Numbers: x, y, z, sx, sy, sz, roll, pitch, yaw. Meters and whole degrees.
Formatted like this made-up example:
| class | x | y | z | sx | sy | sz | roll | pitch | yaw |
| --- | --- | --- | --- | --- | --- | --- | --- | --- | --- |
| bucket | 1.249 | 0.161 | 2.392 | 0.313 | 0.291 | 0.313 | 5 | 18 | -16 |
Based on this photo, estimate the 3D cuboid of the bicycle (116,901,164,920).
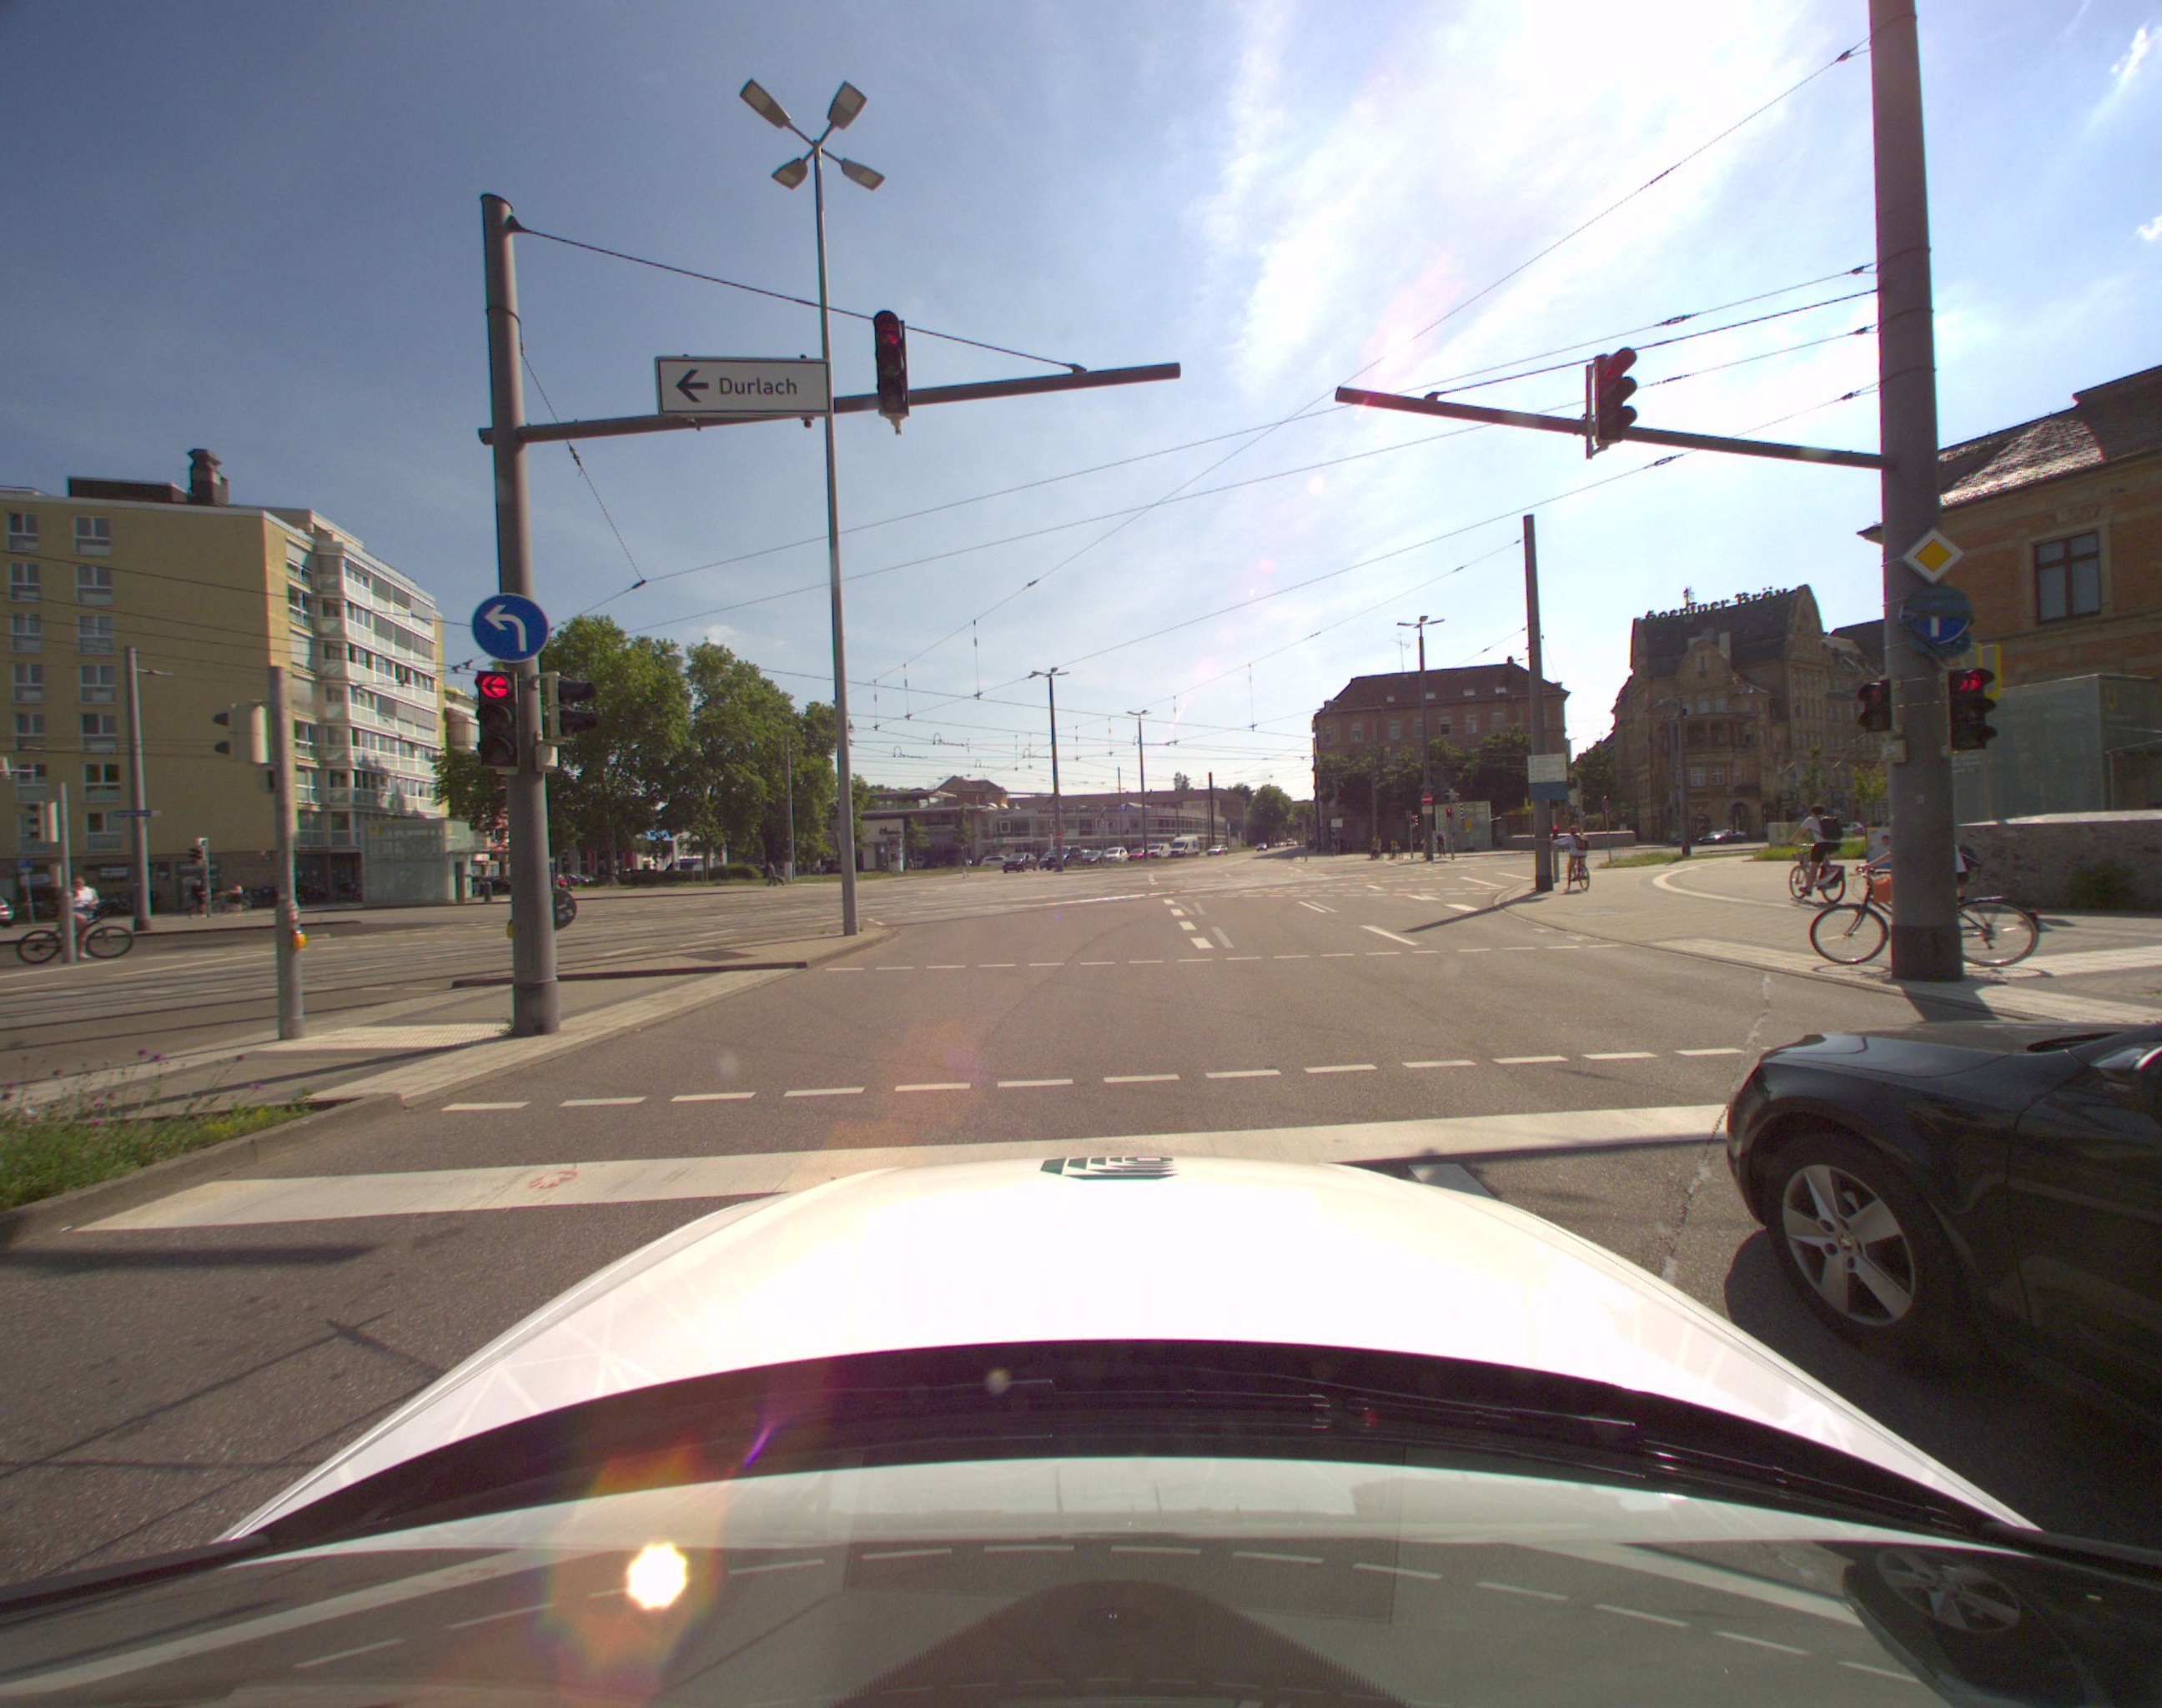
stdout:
| class | x | y | z | sx | sy | sz | roll | pitch | yaw |
| --- | --- | --- | --- | --- | --- | --- | --- | --- | --- |
| bicycle | -51.990 | 3.118 | 45.015 | 1.750 | 0.916 | 0.582 | -3 | 1 | -8 |

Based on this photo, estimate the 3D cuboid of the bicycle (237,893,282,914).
| class | x | y | z | sx | sy | sz | roll | pitch | yaw |
| --- | --- | --- | --- | --- | --- | --- | --- | --- | --- |
| bicycle | -46.814 | 2.798 | 46.396 | 1.750 | 1.043 | 0.582 | -3 | 1 | -9 |

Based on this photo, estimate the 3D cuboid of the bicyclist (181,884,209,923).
| class | x | y | z | sx | sy | sz | roll | pitch | yaw |
| --- | --- | --- | --- | --- | --- | --- | --- | --- | --- |
| bicyclist | -40.790 | 2.263 | 37.498 | 0.584 | 1.735 | 0.613 | -3 | -1 | -22 |

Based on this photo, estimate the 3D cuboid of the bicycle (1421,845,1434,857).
| class | x | y | z | sx | sy | sz | roll | pitch | yaw |
| --- | --- | --- | --- | --- | --- | --- | --- | --- | --- |
| bicycle | 25.929 | -0.216 | 61.007 | 0.497 | 0.866 | 1.590 | 0 | 0 | 7 |

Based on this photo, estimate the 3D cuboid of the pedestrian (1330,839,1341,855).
| class | x | y | z | sx | sy | sz | roll | pitch | yaw |
| --- | --- | --- | --- | --- | --- | --- | --- | --- | --- |
| pedestrian | 22.613 | -0.625 | 72.463 | 0.616 | 1.433 | 0.705 | 0 | -1 | -36 |

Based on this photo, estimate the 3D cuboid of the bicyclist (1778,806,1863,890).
| class | x | y | z | sx | sy | sz | roll | pitch | yaw |
| --- | --- | --- | --- | --- | --- | --- | --- | --- | --- |
| bicyclist | 13.959 | -0.112 | 15.409 | 0.709 | 1.488 | 0.953 | -5 | -2 | 13 |

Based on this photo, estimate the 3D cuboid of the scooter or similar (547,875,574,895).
| class | x | y | z | sx | sy | sz | roll | pitch | yaw |
| --- | --- | --- | --- | --- | --- | --- | --- | --- | --- |
| scooter or similar | -32.100 | 1.912 | 50.214 | 1.351 | 1.119 | 0.519 | -2 | 0 | 11 |

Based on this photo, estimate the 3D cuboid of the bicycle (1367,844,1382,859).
| class | x | y | z | sx | sy | sz | roll | pitch | yaw |
| --- | --- | --- | --- | --- | --- | --- | --- | --- | --- |
| bicycle | 22.247 | -0.189 | 61.693 | 0.918 | 1.069 | 2.761 | -1 | -1 | 23 |

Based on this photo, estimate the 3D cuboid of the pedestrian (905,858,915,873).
| class | x | y | z | sx | sy | sz | roll | pitch | yaw |
| --- | --- | --- | --- | --- | --- | --- | --- | --- | --- |
| pedestrian | -18.268 | 1.200 | 86.966 | 0.951 | 1.580 | 0.534 | 0 | -1 | -2 |

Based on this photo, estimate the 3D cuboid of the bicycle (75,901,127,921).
| class | x | y | z | sx | sy | sz | roll | pitch | yaw |
| --- | --- | --- | --- | --- | --- | --- | --- | --- | --- |
| bicycle | -53.565 | 3.126 | 44.523 | 1.754 | 0.916 | 0.581 | -3 | 1 | -15 |

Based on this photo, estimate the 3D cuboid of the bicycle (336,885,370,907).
| class | x | y | z | sx | sy | sz | roll | pitch | yaw |
| --- | --- | --- | --- | --- | --- | --- | --- | --- | --- |
| bicycle | -44.391 | 2.549 | 49.682 | 0.581 | 1.219 | 1.754 | -3 | 1 | -5 |

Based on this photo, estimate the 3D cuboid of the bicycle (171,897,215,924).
| class | x | y | z | sx | sy | sz | roll | pitch | yaw |
| --- | --- | --- | --- | --- | --- | --- | --- | --- | --- |
| bicycle | -40.936 | 2.574 | 37.567 | 0.584 | 1.130 | 1.784 | -3 | -1 | -21 |

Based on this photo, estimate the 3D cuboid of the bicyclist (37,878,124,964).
| class | x | y | z | sx | sy | sz | roll | pitch | yaw |
| --- | --- | --- | --- | --- | --- | --- | --- | --- | --- |
| bicyclist | -20.922 | 1.379 | 17.048 | 0.774 | 1.684 | 0.749 | -4 | 0 | -9 |

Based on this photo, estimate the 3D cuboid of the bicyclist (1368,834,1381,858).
| class | x | y | z | sx | sy | sz | roll | pitch | yaw |
| --- | --- | --- | --- | --- | --- | --- | --- | --- | --- |
| bicyclist | 22.203 | -0.574 | 61.598 | 0.918 | 1.820 | 1.058 | -1 | -1 | 22 |

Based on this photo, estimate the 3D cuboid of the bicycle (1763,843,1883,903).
| class | x | y | z | sx | sy | sz | roll | pitch | yaw |
| --- | --- | --- | --- | --- | --- | --- | --- | --- | --- |
| bicycle | 14.022 | 0.344 | 15.479 | 0.709 | 1.015 | 2.028 | -6 | -2 | 13 |

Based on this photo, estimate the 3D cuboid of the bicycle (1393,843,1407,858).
| class | x | y | z | sx | sy | sz | roll | pitch | yaw |
| --- | --- | --- | --- | --- | --- | --- | --- | --- | --- |
| bicycle | 24.146 | -0.296 | 61.701 | 0.918 | 1.069 | 2.856 | -1 | 1 | 21 |

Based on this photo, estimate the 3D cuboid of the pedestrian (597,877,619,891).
| class | x | y | z | sx | sy | sz | roll | pitch | yaw |
| --- | --- | --- | --- | --- | --- | --- | --- | --- | --- |
| pedestrian | -33.166 | 2.129 | 57.102 | 1.175 | 0.892 | 0.818 | -2 | 0 | -18 |

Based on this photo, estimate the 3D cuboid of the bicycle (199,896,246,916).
| class | x | y | z | sx | sy | sz | roll | pitch | yaw |
| --- | --- | --- | --- | --- | --- | --- | --- | --- | --- |
| bicycle | -48.418 | 2.912 | 45.937 | 1.751 | 0.965 | 0.582 | -3 | 1 | -11 |

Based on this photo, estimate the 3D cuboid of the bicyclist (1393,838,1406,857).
| class | x | y | z | sx | sy | sz | roll | pitch | yaw |
| --- | --- | --- | --- | --- | --- | --- | --- | --- | --- |
| bicyclist | 24.068 | -0.488 | 61.501 | 0.918 | 1.451 | 1.258 | -1 | 1 | 21 |

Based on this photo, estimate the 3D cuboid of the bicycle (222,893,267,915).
| class | x | y | z | sx | sy | sz | roll | pitch | yaw |
| --- | --- | --- | --- | --- | --- | --- | --- | --- | --- |
| bicycle | -46.961 | 2.805 | 45.733 | 1.747 | 1.085 | 0.583 | -3 | 3 | -4 |

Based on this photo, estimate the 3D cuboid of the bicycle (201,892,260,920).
| class | x | y | z | sx | sy | sz | roll | pitch | yaw |
| --- | --- | --- | --- | --- | --- | --- | --- | --- | --- |
| bicycle | -39.218 | 2.391 | 37.590 | 0.749 | 1.130 | 1.798 | -2 | 0 | 3 |

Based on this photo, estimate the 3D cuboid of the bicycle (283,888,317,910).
| class | x | y | z | sx | sy | sz | roll | pitch | yaw |
| --- | --- | --- | --- | --- | --- | --- | --- | --- | --- |
| bicycle | -46.290 | 2.671 | 48.305 | 0.540 | 1.186 | 1.881 | -2 | 0 | -13 |

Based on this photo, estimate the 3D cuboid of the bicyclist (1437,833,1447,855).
| class | x | y | z | sx | sy | sz | roll | pitch | yaw |
| --- | --- | --- | --- | --- | --- | --- | --- | --- | --- |
| bicyclist | 26.925 | -0.753 | 60.711 | 0.661 | 1.624 | 0.787 | -1 | 0 | 24 |

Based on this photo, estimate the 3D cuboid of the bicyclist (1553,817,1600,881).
| class | x | y | z | sx | sy | sz | roll | pitch | yaw |
| --- | --- | --- | --- | --- | --- | --- | --- | --- | --- |
| bicyclist | 13.542 | -0.127 | 22.290 | 0.710 | 1.669 | 0.877 | -5 | -1 | 10 |

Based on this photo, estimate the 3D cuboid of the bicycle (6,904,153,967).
| class | x | y | z | sx | sy | sz | roll | pitch | yaw |
| --- | --- | --- | --- | --- | --- | --- | --- | --- | --- |
| bicycle | -20.922 | 1.690 | 17.053 | 1.843 | 1.083 | 0.749 | -4 | 0 | -9 |

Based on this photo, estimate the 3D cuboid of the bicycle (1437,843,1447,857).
| class | x | y | z | sx | sy | sz | roll | pitch | yaw |
| --- | --- | --- | --- | --- | --- | --- | --- | --- | --- |
| bicycle | 26.994 | -0.307 | 60.843 | 0.661 | 1.069 | 2.478 | -1 | 1 | 24 |

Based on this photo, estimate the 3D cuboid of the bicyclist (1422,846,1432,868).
| class | x | y | z | sx | sy | sz | roll | pitch | yaw |
| --- | --- | --- | --- | --- | --- | --- | --- | --- | --- |
| bicyclist | 25.938 | 0.212 | 61.056 | 0.497 | 1.621 | 0.651 | 0 | 0 | 7 |

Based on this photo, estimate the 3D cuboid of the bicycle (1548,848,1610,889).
| class | x | y | z | sx | sy | sz | roll | pitch | yaw |
| --- | --- | --- | --- | --- | --- | --- | --- | --- | --- |
| bicycle | 13.591 | 0.384 | 22.293 | 0.710 | 1.015 | 2.026 | -5 | 0 | 10 |

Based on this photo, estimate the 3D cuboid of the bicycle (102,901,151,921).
| class | x | y | z | sx | sy | sz | roll | pitch | yaw |
| --- | --- | --- | --- | --- | --- | --- | --- | --- | --- |
| bicycle | -52.068 | 3.114 | 44.451 | 1.750 | 0.916 | 0.582 | -3 | 1 | -8 |

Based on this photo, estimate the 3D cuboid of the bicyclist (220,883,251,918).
| class | x | y | z | sx | sy | sz | roll | pitch | yaw |
| --- | --- | --- | --- | --- | --- | --- | --- | --- | --- |
| bicyclist | -39.196 | 2.141 | 37.750 | 0.728 | 1.572 | 0.613 | -3 | -1 | 2 |

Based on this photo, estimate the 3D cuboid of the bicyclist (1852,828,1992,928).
| class | x | y | z | sx | sy | sz | roll | pitch | yaw |
| --- | --- | --- | --- | --- | --- | --- | --- | --- | --- |
| bicyclist | 9.315 | 0.263 | 9.067 | 0.904 | 1.029 | 0.721 | -5 | -1 | 35 |

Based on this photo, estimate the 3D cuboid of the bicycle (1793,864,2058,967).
| class | x | y | z | sx | sy | sz | roll | pitch | yaw |
| --- | --- | --- | --- | --- | --- | --- | --- | --- | --- |
| bicycle | 9.290 | 0.698 | 9.095 | 1.894 | 1.015 | 0.721 | -5 | -1 | 35 |
